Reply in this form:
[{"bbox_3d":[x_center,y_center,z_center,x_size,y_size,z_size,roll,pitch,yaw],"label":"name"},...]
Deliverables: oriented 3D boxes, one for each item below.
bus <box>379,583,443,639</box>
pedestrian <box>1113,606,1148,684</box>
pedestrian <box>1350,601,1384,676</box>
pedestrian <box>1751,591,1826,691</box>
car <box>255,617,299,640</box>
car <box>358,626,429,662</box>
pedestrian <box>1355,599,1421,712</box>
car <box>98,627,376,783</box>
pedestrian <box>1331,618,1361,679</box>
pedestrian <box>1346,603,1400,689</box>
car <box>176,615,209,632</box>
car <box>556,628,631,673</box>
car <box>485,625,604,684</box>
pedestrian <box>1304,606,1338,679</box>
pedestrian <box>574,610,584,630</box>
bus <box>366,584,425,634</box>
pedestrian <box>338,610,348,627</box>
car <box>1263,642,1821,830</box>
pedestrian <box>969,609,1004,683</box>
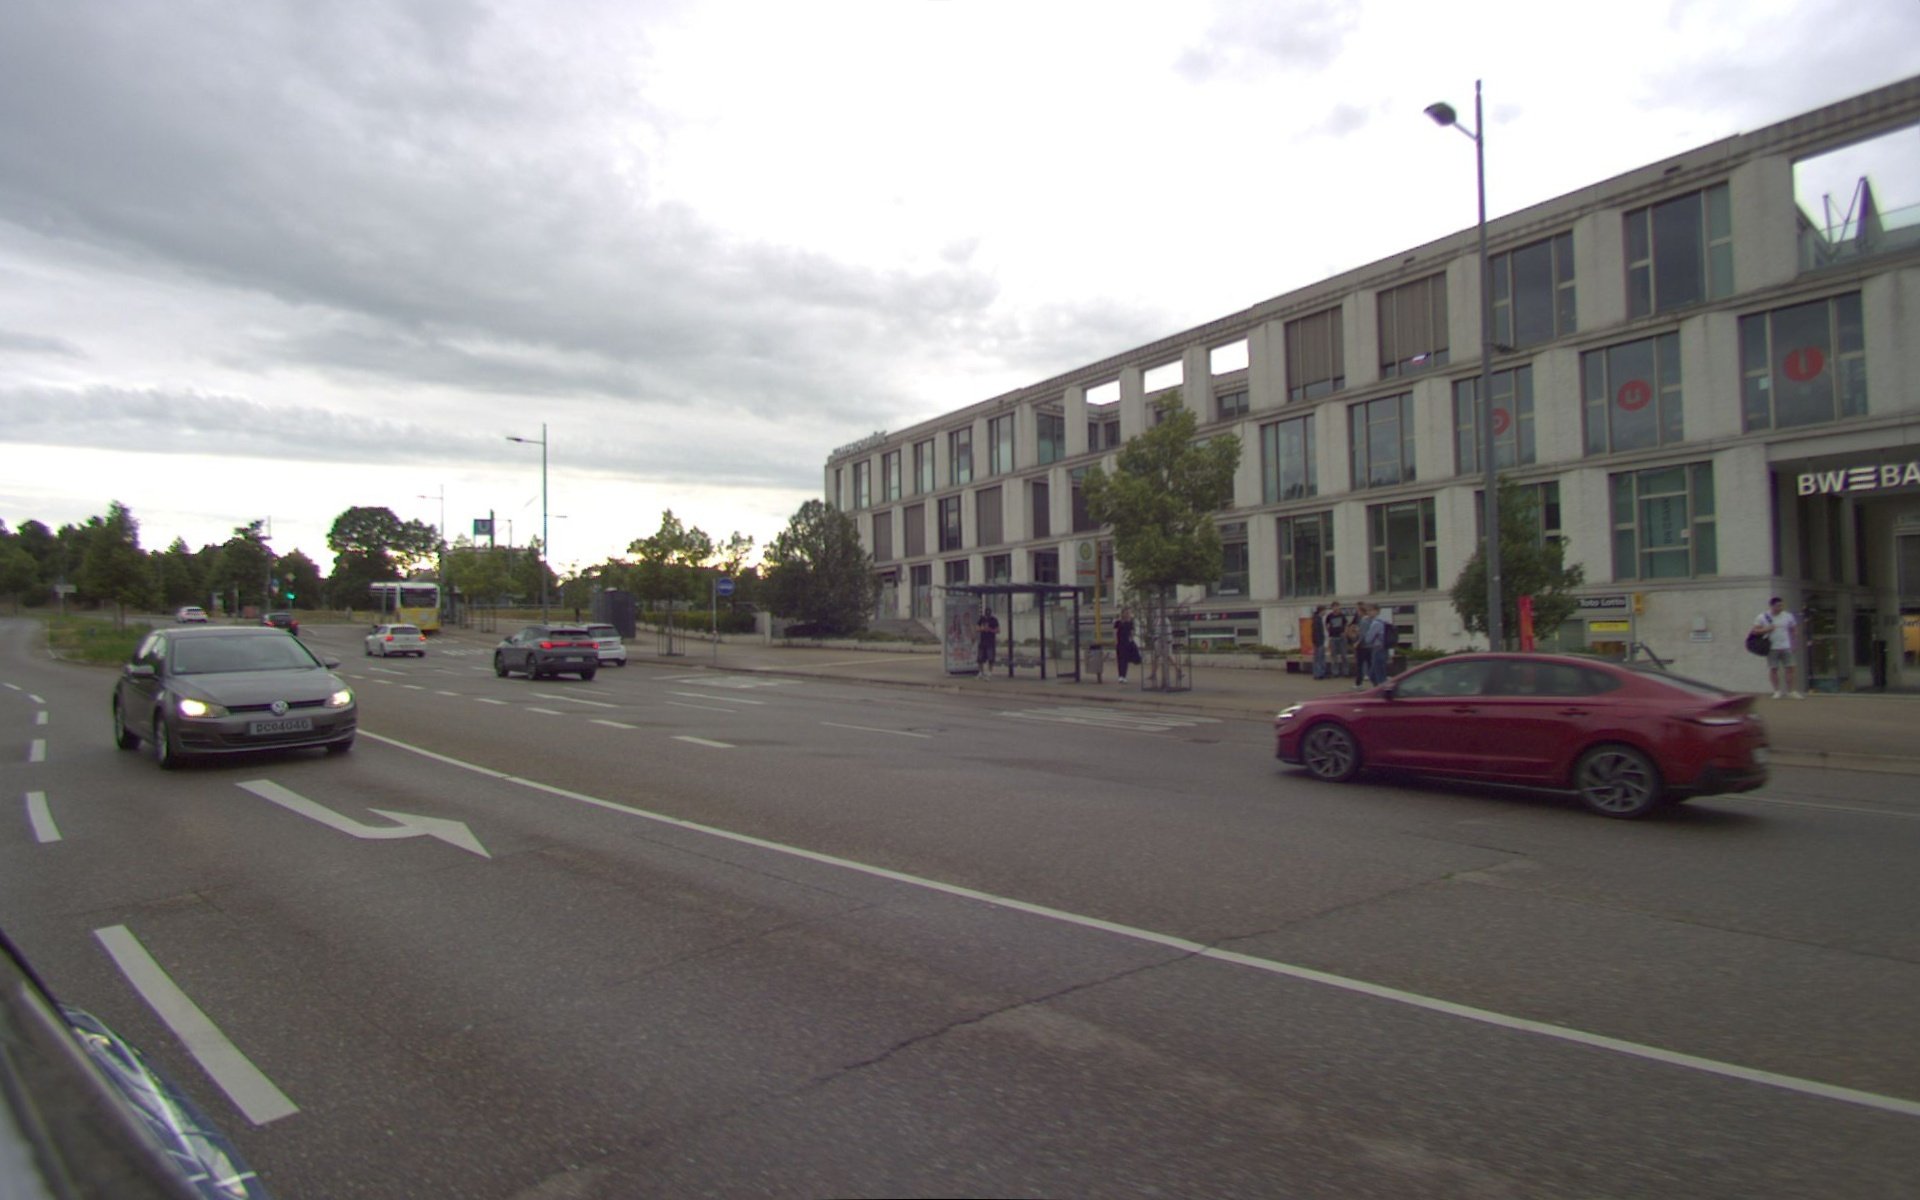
[{"bbox_3d":[-36.725,0.648,67.574,2.784,3.498,8.252,-1,1,-35],"label":"bus"},{"bbox_3d":[4.151,1.082,24.607,0.573,1.870,0.607,1,-2,-45],"label":"pedestrian"},{"bbox_3d":[9.653,0.902,24.000,0.421,1.738,0.621,1,-2,-42],"label":"pedestrian"},{"bbox_3d":[14.453,0.713,17.673,0.912,1.703,0.493,-1,-1,31],"label":"pedestrian"},{"bbox_3d":[-44.214,1.830,65.466,1.824,1.473,3.872,2,-2,-42],"label":"car"},{"bbox_3d":[-25.307,1.939,45.150,1.850,1.441,4.181,4,-3,-42],"label":"car"},{"bbox_3d":[7.250,0.920,17.144,0.743,1.856,0.747,1,-2,-40],"label":"pedestrian"},{"bbox_3d":[-8.509,1.064,11.768,4.196,1.440,1.786,-2,-1,42],"label":"car"},{"bbox_3d":[9.379,1.163,24.593,0.421,1.462,0.510,1,-2,-42],"label":"pedestrian"},{"bbox_3d":[8.711,0.951,21.341,0.591,1.775,0.858,1,-2,-40],"label":"pedestrian"},{"bbox_3d":[-69.181,2.112,91.234,1.969,1.429,4.518,0,-1,-42],"label":"car"},{"bbox_3d":[-13.665,1.847,37.646,1.594,1.519,2.976,-1,0,-42],"label":"car"},{"bbox_3d":[-12.589,1.604,30.478,1.809,1.584,4.599,4,-3,-42],"label":"car"},{"bbox_3d":[8.704,1.012,24.391,0.518,1.738,0.567,1,-2,-40],"label":"pedestrian"},{"bbox_3d":[-29.913,1.603,79.460,0.665,1.541,0.484,-4,-3,42],"label":"pedestrian"},{"bbox_3d":[-42.008,0.571,75.111,2.784,3.498,9.999,-1,1,-35],"label":"bus"},{"bbox_3d":[-59.965,1.815,98.399,0.813,1.606,0.607,-4,-3,43],"label":"pedestrian"},{"bbox_3d":[5.485,1.160,10.060,1.809,1.427,4.470,4,-4,-42],"label":"car"},{"bbox_3d":[0.680,1.156,25.853,0.501,1.856,0.756,1,-2,-43],"label":"pedestrian"}]
